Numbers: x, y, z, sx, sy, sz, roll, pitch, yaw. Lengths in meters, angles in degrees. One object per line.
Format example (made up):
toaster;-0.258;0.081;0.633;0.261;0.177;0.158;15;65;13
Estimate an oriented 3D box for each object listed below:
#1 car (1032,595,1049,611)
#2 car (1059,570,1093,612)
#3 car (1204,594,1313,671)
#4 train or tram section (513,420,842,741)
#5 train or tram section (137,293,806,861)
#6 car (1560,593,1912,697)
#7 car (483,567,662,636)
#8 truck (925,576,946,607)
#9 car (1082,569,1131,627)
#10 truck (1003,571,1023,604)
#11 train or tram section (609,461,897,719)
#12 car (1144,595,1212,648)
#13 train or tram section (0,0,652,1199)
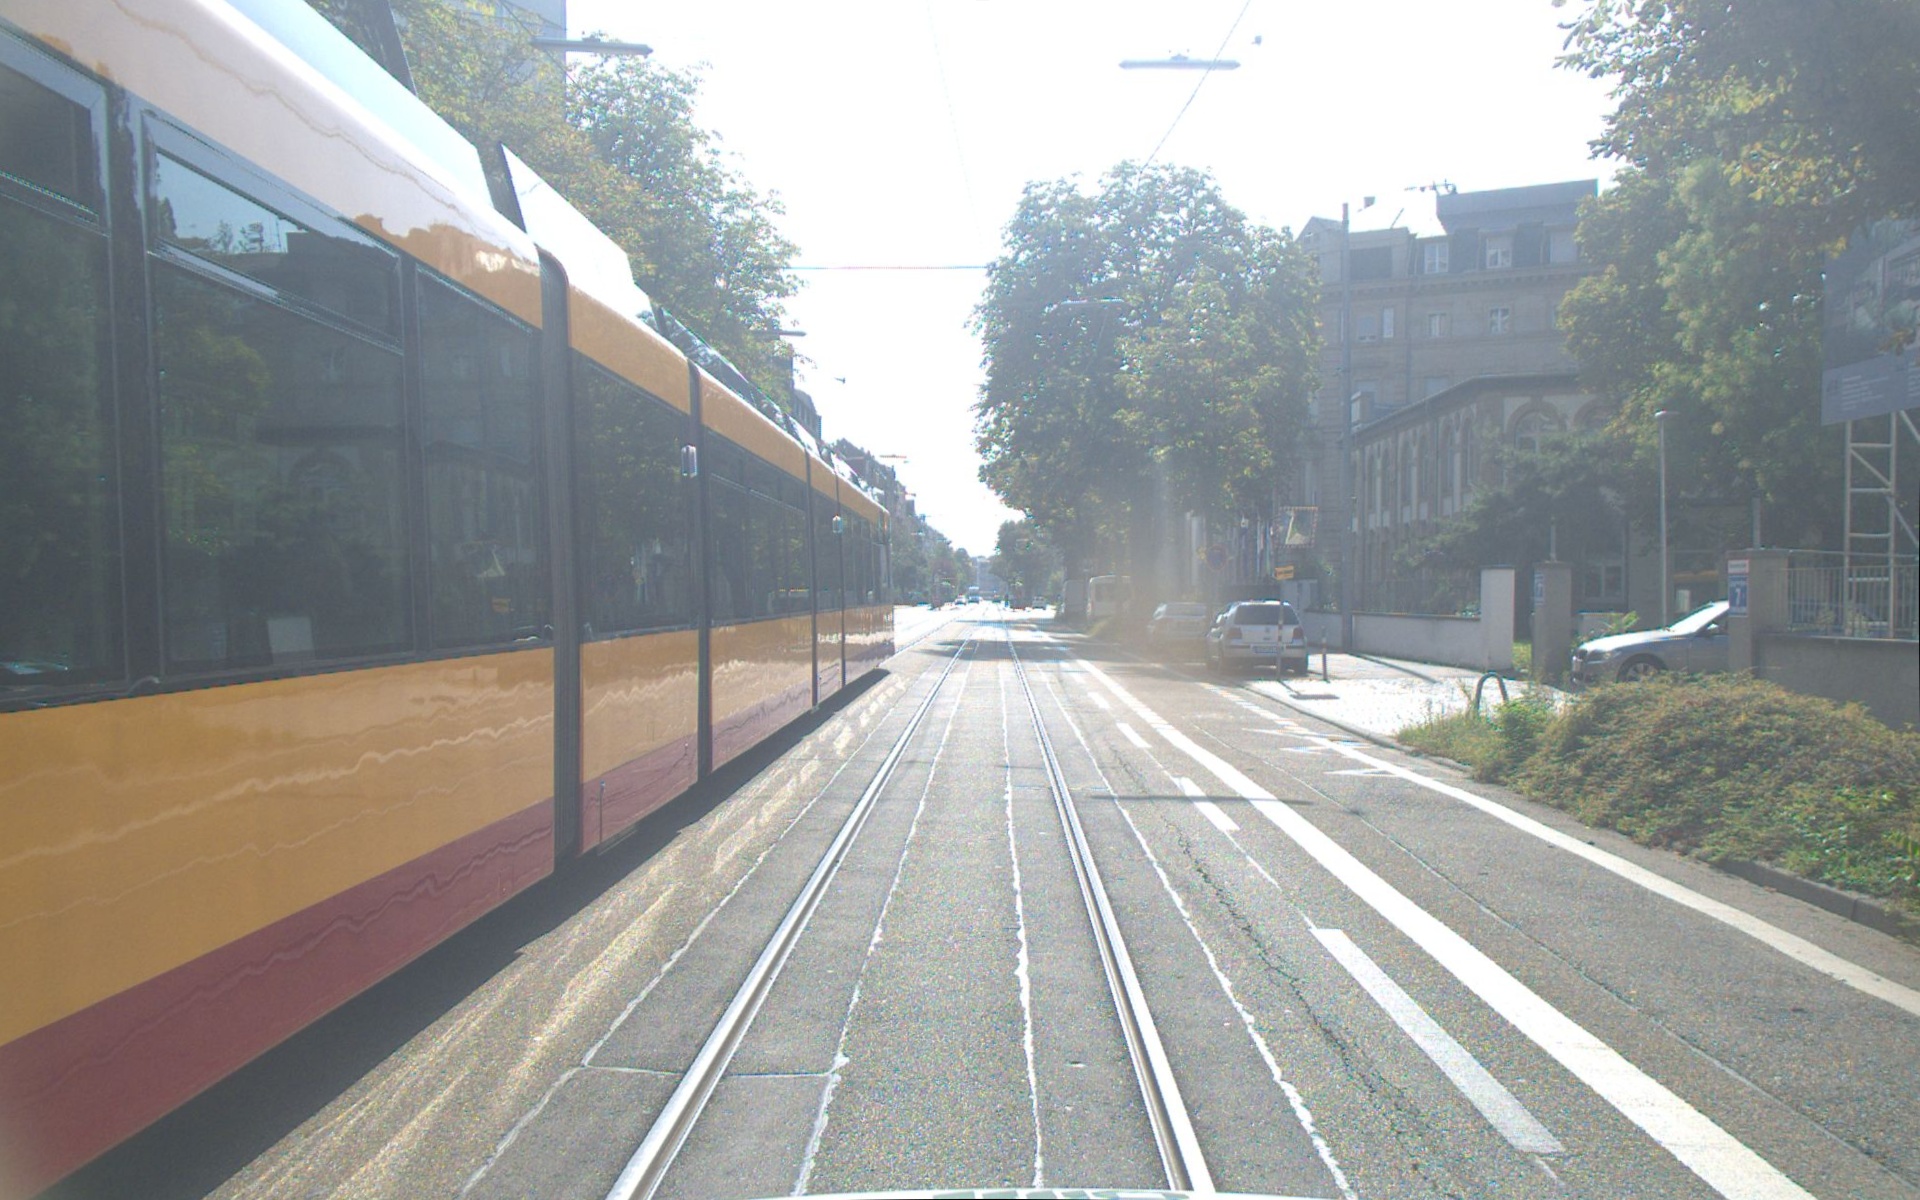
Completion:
car;9.673;0.363;199.546;1.952;1.870;4.001;0;0;2
car;7.136;-0.538;102.163;1.963;2.518;4.478;0;0;2
car;5.954;0.614;33.291;1.654;1.443;3.635;0;0;2
train or tram section;-2.698;-0.186;16.871;2.650;2.906;3.650;0;0;1
train or tram section;-2.811;-0.135;11.745;2.672;2.899;6.544;0;0;1
car;11.192;0.635;24.137;4.326;1.434;1.807;0;0;10
car;-8.648;0.022;37.134;1.542;1.468;3.742;1;0;41
truck;-2.405;-0.826;163.956;1.952;3.027;4.571;0;0;1
car;6.631;-0.091;75.292;1.963;2.534;4.478;0;0;2
truck;5.240;-1.240;163.927;1.823;3.185;4.352;0;0;-1
train or tram section;-2.545;-0.139;23.988;2.625;2.912;10.545;0;0;1
car;6.156;0.577;47.015;1.561;1.443;3.635;0;0;2
train or tram section;-3.063;-0.060;0.616;2.672;2.945;15.457;0;0;1
